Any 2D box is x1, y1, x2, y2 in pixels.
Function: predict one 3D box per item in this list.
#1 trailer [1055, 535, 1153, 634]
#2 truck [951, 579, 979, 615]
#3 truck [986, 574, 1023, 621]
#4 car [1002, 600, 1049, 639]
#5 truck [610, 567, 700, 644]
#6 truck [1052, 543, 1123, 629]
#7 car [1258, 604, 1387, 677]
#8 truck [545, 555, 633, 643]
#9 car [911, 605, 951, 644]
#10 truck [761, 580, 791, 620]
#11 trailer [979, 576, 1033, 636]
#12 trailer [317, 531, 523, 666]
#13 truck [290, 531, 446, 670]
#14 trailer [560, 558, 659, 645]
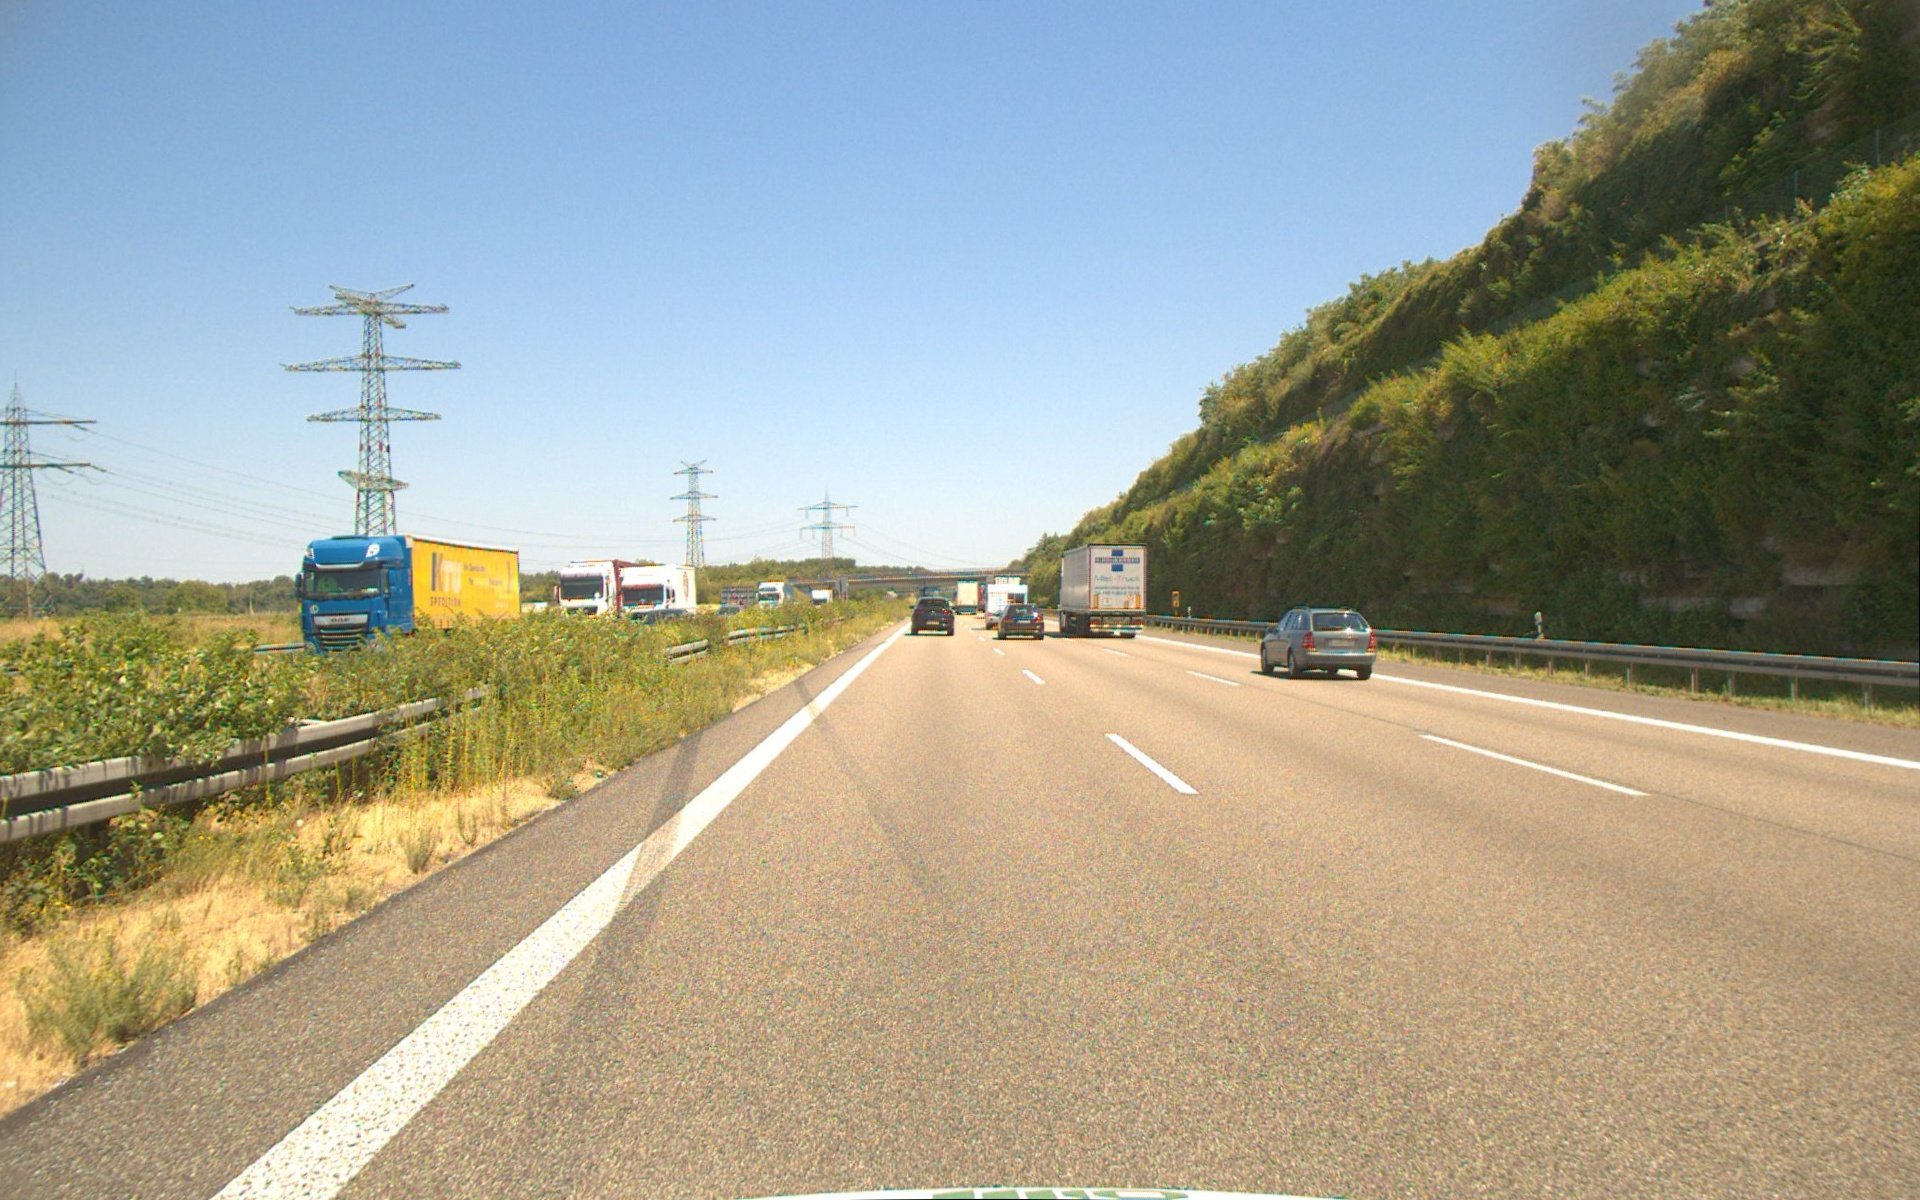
[{"bbox_3d":[6.627,-0.668,78.156,3.118,4.193,13.428,-1,0,-1],"label":"trailer"},{"bbox_3d":[0.591,-0.360,211.172,3.340,4.355,10.604,-1,0,-1],"label":"truck"},{"bbox_3d":[4.290,-0.262,161.534,3.056,4.355,11.930,-1,0,-1],"label":"truck"},{"bbox_3d":[2.728,0.798,69.606,1.792,1.552,3.999,-1,0,-1],"label":"car"},{"bbox_3d":[-14.754,0.234,80.818,2.877,3.473,9.363,-1,0,-2],"label":"truck"},{"bbox_3d":[6.495,-0.690,84.981,3.072,4.214,5.502,-1,0,-1],"label":"truck"},{"bbox_3d":[7.630,0.818,35.205,1.650,1.453,4.451,0,0,-2],"label":"car"},{"bbox_3d":[-18.741,-0.060,83.925,3.148,4.231,6.436,-1,0,-2],"label":"truck"},{"bbox_3d":[-1.348,1.098,75.799,1.793,1.700,3.999,-1,0,-2],"label":"car"},{"bbox_3d":[-19.556,-0.029,176.011,2.641,4.140,5.800,-1,0,-1],"label":"truck"},{"bbox_3d":[2.598,0.324,96.720,2.558,3.269,9.949,-1,0,-2],"label":"trailer"},{"bbox_3d":[-18.321,-0.045,57.468,2.792,4.047,14.139,-1,0,-1],"label":"trailer"},{"bbox_3d":[-18.131,0.015,51.057,2.805,3.976,5.619,-1,0,-1],"label":"truck"},{"bbox_3d":[-18.979,0.081,90.490,3.129,4.381,12.266,1,0,-2],"label":"trailer"}]
